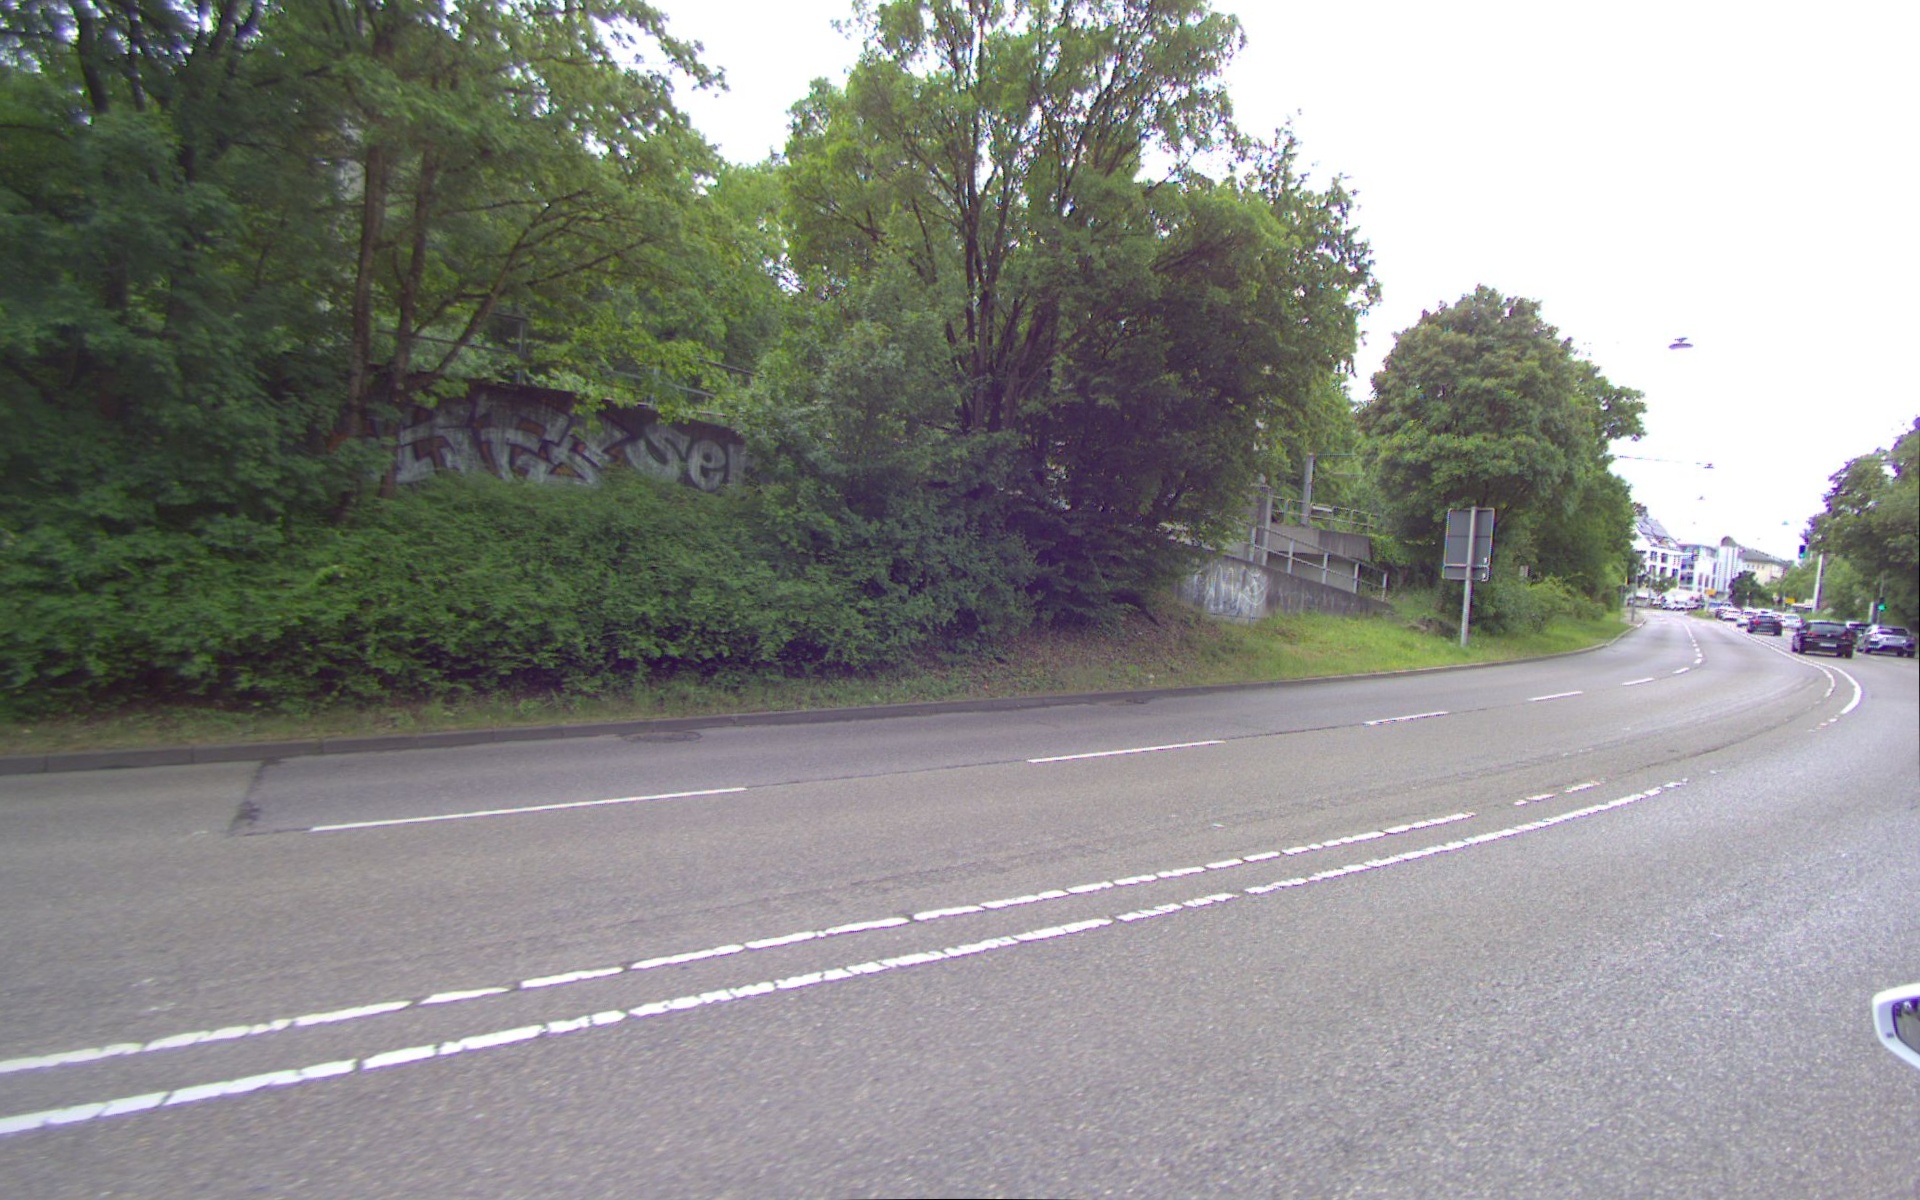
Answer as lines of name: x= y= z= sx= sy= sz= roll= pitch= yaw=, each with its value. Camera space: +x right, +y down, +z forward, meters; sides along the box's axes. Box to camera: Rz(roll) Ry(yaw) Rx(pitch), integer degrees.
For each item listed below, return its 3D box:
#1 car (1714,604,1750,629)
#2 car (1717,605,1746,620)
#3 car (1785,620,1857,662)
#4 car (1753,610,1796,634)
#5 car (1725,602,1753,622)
car: x=55.892 y=1.200 z=72.679 sx=1.746 sy=1.628 sz=3.979 roll=5 pitch=3 yaw=41
car: x=92.130 y=1.476 z=119.964 sx=3.970 sy=1.548 sz=1.975 roll=0 pitch=4 yaw=-42
car: x=36.626 y=1.705 z=42.812 sx=1.924 sy=1.486 sz=3.985 roll=5 pitch=3 yaw=36
car: x=57.680 y=1.540 z=71.134 sx=1.972 sy=1.507 sz=3.976 roll=5 pitch=4 yaw=43
car: x=69.769 y=1.042 z=89.990 sx=1.691 sy=1.611 sz=3.980 roll=5 pitch=3 yaw=40
